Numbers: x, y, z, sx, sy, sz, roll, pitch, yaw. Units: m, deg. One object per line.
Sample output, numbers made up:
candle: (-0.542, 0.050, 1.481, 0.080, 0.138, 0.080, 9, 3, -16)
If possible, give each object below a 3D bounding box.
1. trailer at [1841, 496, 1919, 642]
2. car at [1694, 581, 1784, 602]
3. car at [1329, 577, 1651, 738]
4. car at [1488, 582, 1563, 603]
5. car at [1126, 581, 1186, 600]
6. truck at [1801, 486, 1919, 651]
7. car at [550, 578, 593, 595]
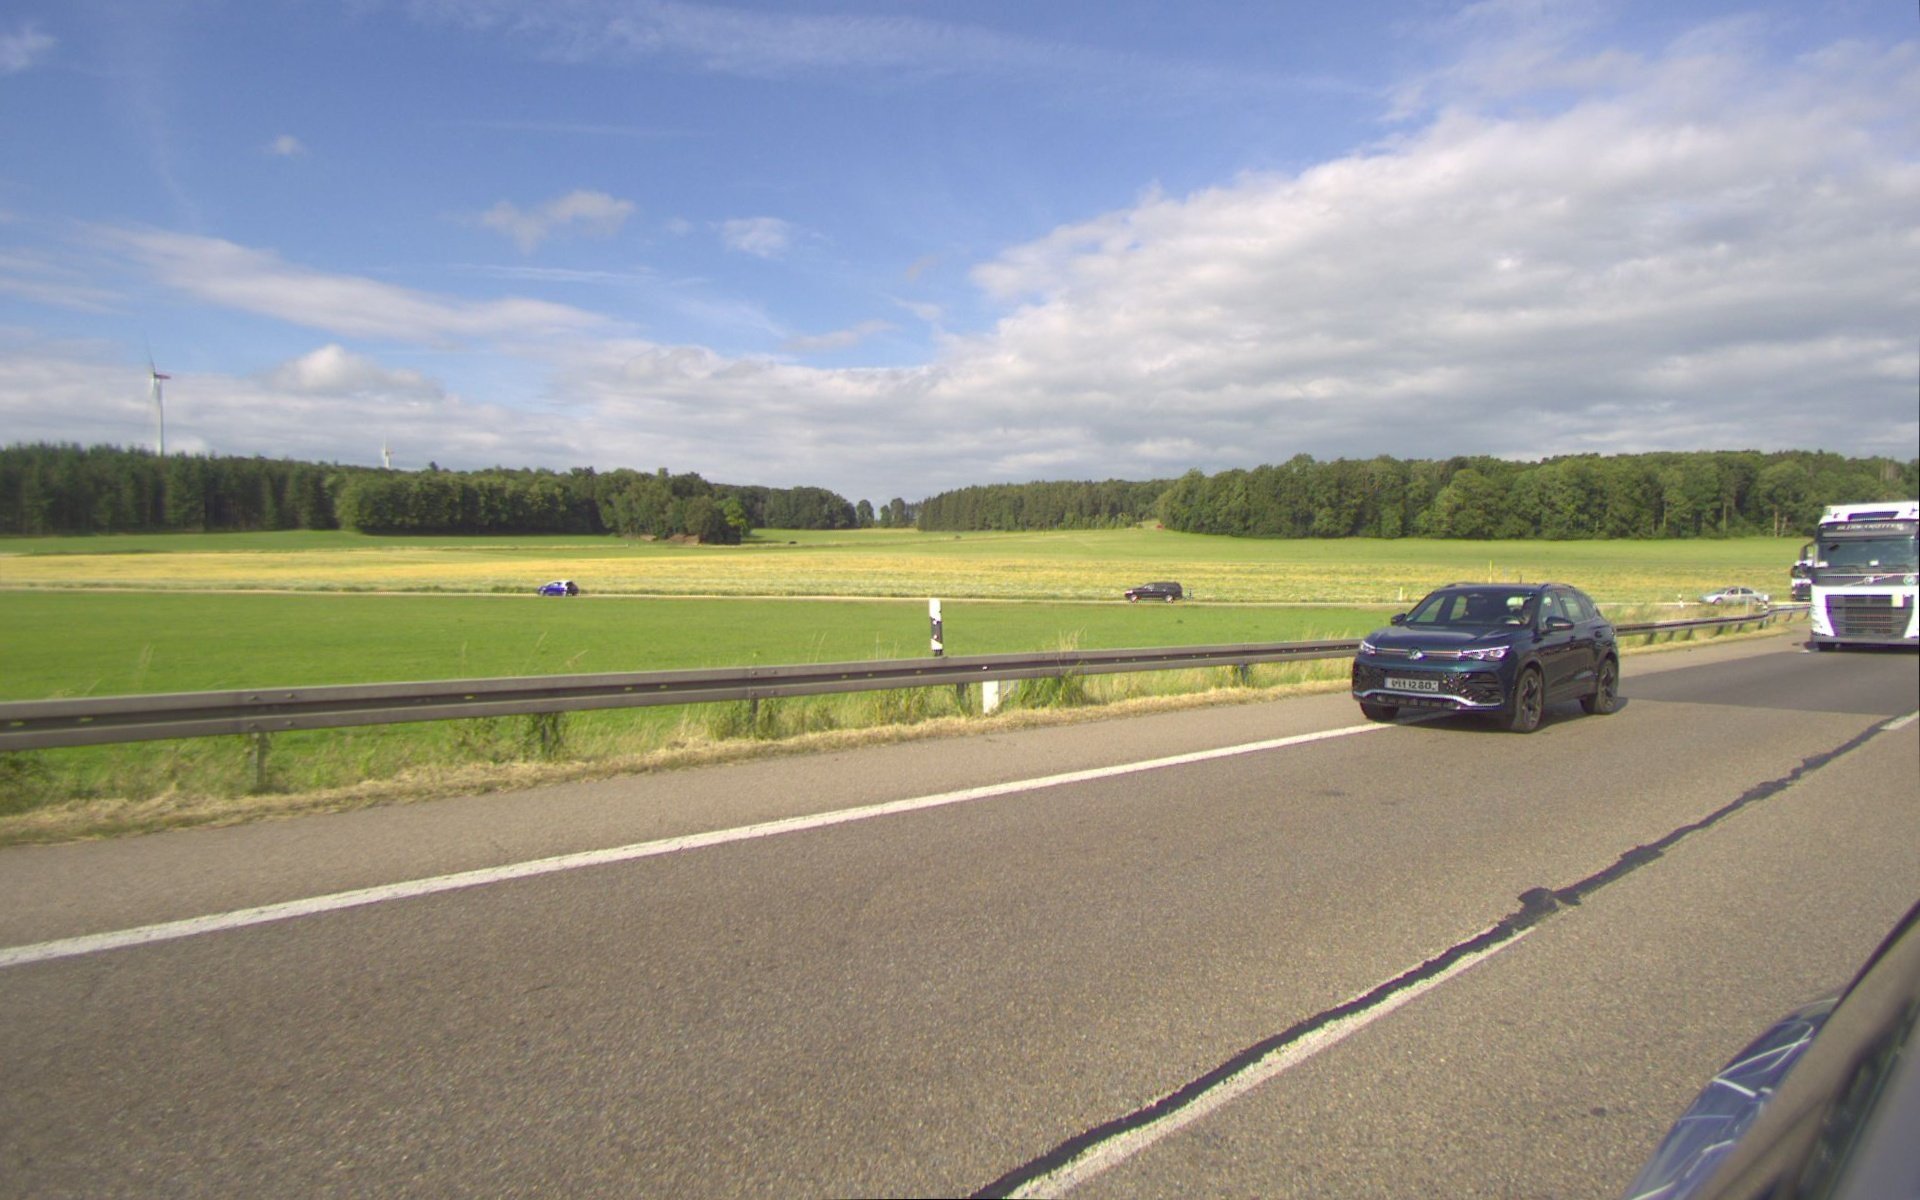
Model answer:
trailer: (31.022, -0.926, 31.886, 11.909, 4.032, 2.826, -1, 0, -39)
car: (59.271, -0.669, 77.090, 5.022, 1.565, 1.985, 0, 0, 23)
car: (6.493, 0.547, 12.250, 4.044, 1.616, 1.998, -1, 1, -38)
car: (44.966, -0.585, 80.582, 5.022, 1.565, 1.985, 0, 0, 23)
car: (16.853, -0.811, 87.187, 5.038, 1.576, 1.994, 0, 0, 11)
truck: (25.469, -0.827, 27.462, 6.383, 4.040, 2.842, -1, 0, -39)
car: (-37.340, -1.315, 97.273, 3.507, 1.549, 1.718, 0, 0, 13)
